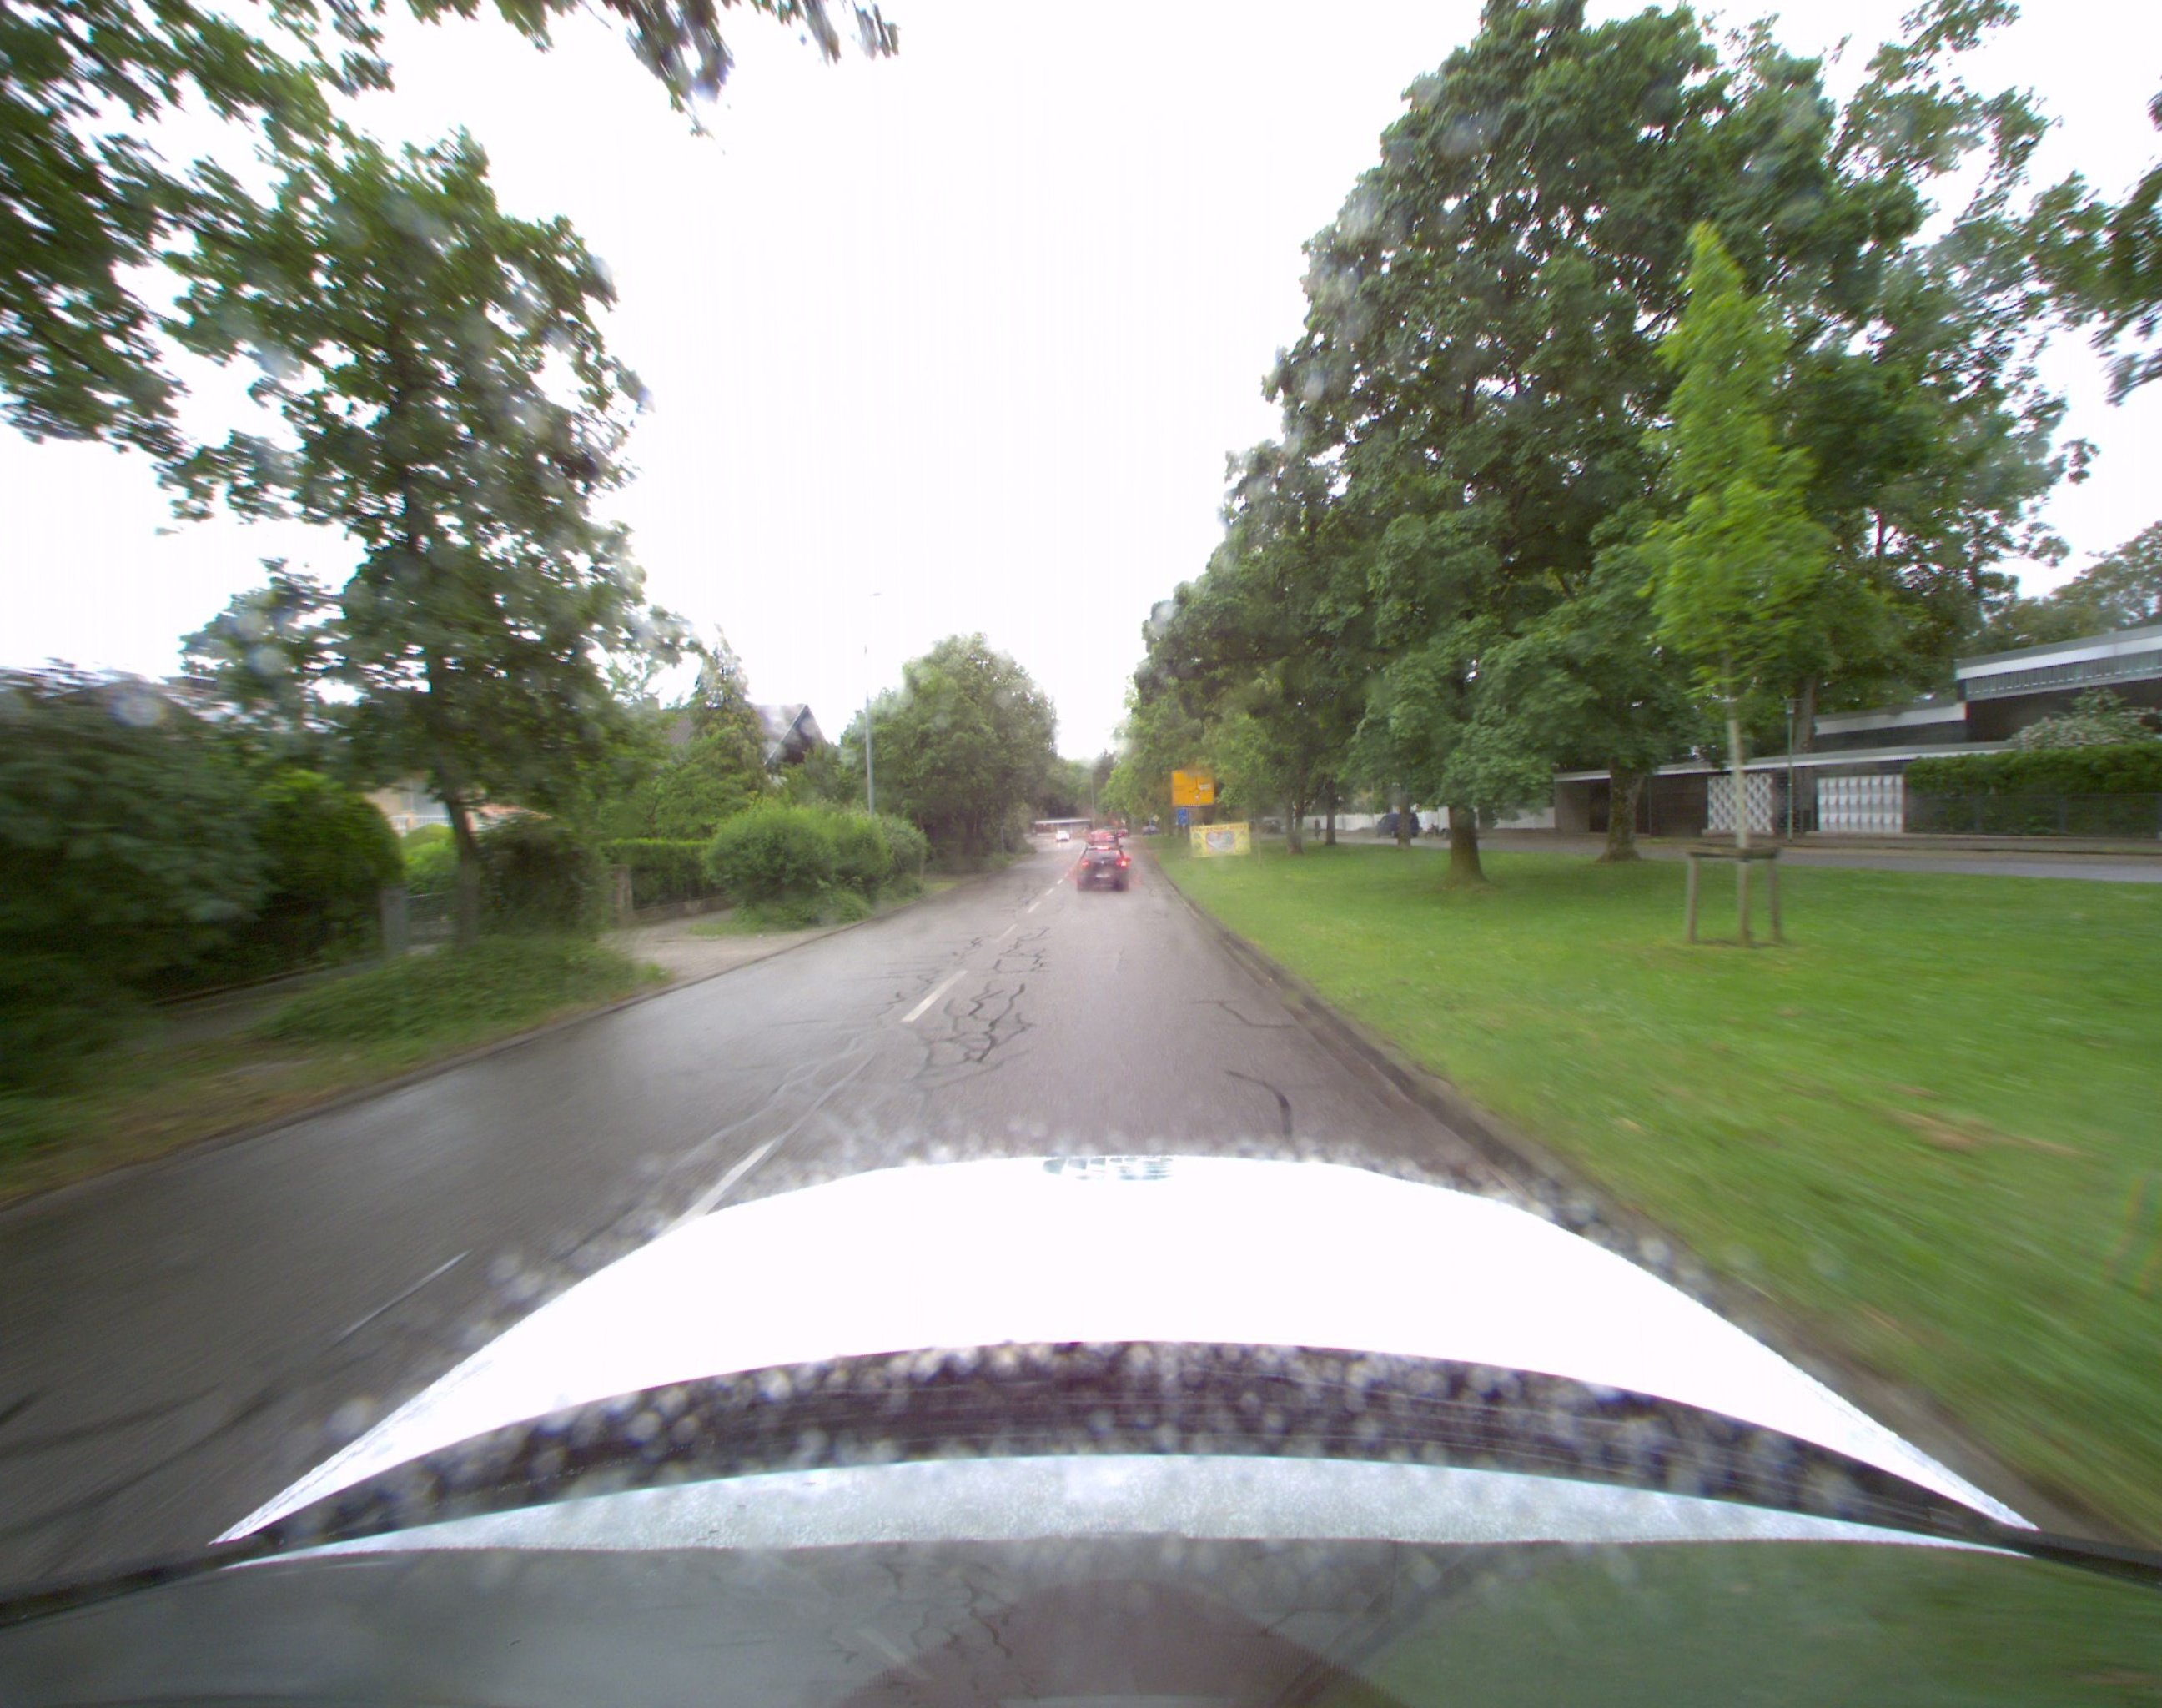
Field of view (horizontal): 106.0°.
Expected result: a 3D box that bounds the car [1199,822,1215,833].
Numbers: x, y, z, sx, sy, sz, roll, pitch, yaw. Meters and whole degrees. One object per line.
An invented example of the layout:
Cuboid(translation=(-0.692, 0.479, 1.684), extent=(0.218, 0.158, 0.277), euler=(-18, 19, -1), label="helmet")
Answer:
Cuboid(translation=(18.199, -3.846, 117.973), extent=(1.796, 1.405, 4.003), euler=(-5, 2, 2), label="car")

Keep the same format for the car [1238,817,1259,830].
Cuboid(translation=(21.566, -3.948, 104.874), extent=(1.796, 1.411, 4.112), euler=(-4, 3, 0), label="car")

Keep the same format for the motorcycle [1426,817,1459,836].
Cuboid(translation=(23.053, -1.769, 51.976), extent=(1.869, 1.092, 0.662), euler=(-2, 3, 21), label="motorcycle")

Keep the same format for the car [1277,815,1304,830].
Cuboid(translation=(21.933, -3.336, 85.348), extent=(1.612, 1.409, 4.006), euler=(-4, 3, -3), label="car")

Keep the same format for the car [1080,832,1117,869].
Cuboid(translation=(0.986, -0.247, 43.985), extent=(1.848, 1.784, 4.003), euler=(-3, 2, 2), label="car")

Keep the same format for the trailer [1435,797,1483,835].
Cuboid(translation=(23.020, -2.270, 49.691), extent=(1.433, 2.154, 2.947), euler=(-2, 1, -3), label="trailer")

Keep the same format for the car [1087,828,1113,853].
Cuboid(translation=(1.500, -1.106, 63.195), extent=(1.848, 1.784, 4.003), euler=(-3, 2, 2), label="car")

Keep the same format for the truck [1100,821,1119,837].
Cuboid(translation=(4.013, -3.540, 115.470), extent=(2.408, 2.004, 5.152), euler=(-3, 2, 1), label="truck")

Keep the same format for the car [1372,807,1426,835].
Cuboid(translation=(22.947, -2.378, 58.913), extent=(1.936, 1.809, 4.648), euler=(-4, 2, -1), label="car")

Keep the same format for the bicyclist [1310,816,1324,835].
Cuboid(translation=(17.974, -2.177, 62.035), extent=(0.742, 1.390, 1.000), euler=(-2, 1, 2), label="bicyclist")

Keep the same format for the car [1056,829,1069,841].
Cuboid(translation=(-2.841, -2.887, 121.571), extent=(1.760, 1.614, 4.137), euler=(-4, 2, -3), label="car")

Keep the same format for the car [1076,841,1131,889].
Cuboid(translation=(0.816, 0.330, 28.242), extent=(1.791, 1.515, 3.756), euler=(0, 2, 2), label="car")

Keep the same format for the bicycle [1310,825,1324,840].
Cuboid(translation=(17.984, -1.644, 62.042), extent=(0.593, 1.138, 1.865), euler=(-2, 1, 2), label="bicycle")

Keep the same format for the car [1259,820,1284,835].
Cuboid(translation=(21.669, -3.040, 92.779), extent=(1.796, 1.529, 4.112), euler=(-4, 3, 0), label="car")
